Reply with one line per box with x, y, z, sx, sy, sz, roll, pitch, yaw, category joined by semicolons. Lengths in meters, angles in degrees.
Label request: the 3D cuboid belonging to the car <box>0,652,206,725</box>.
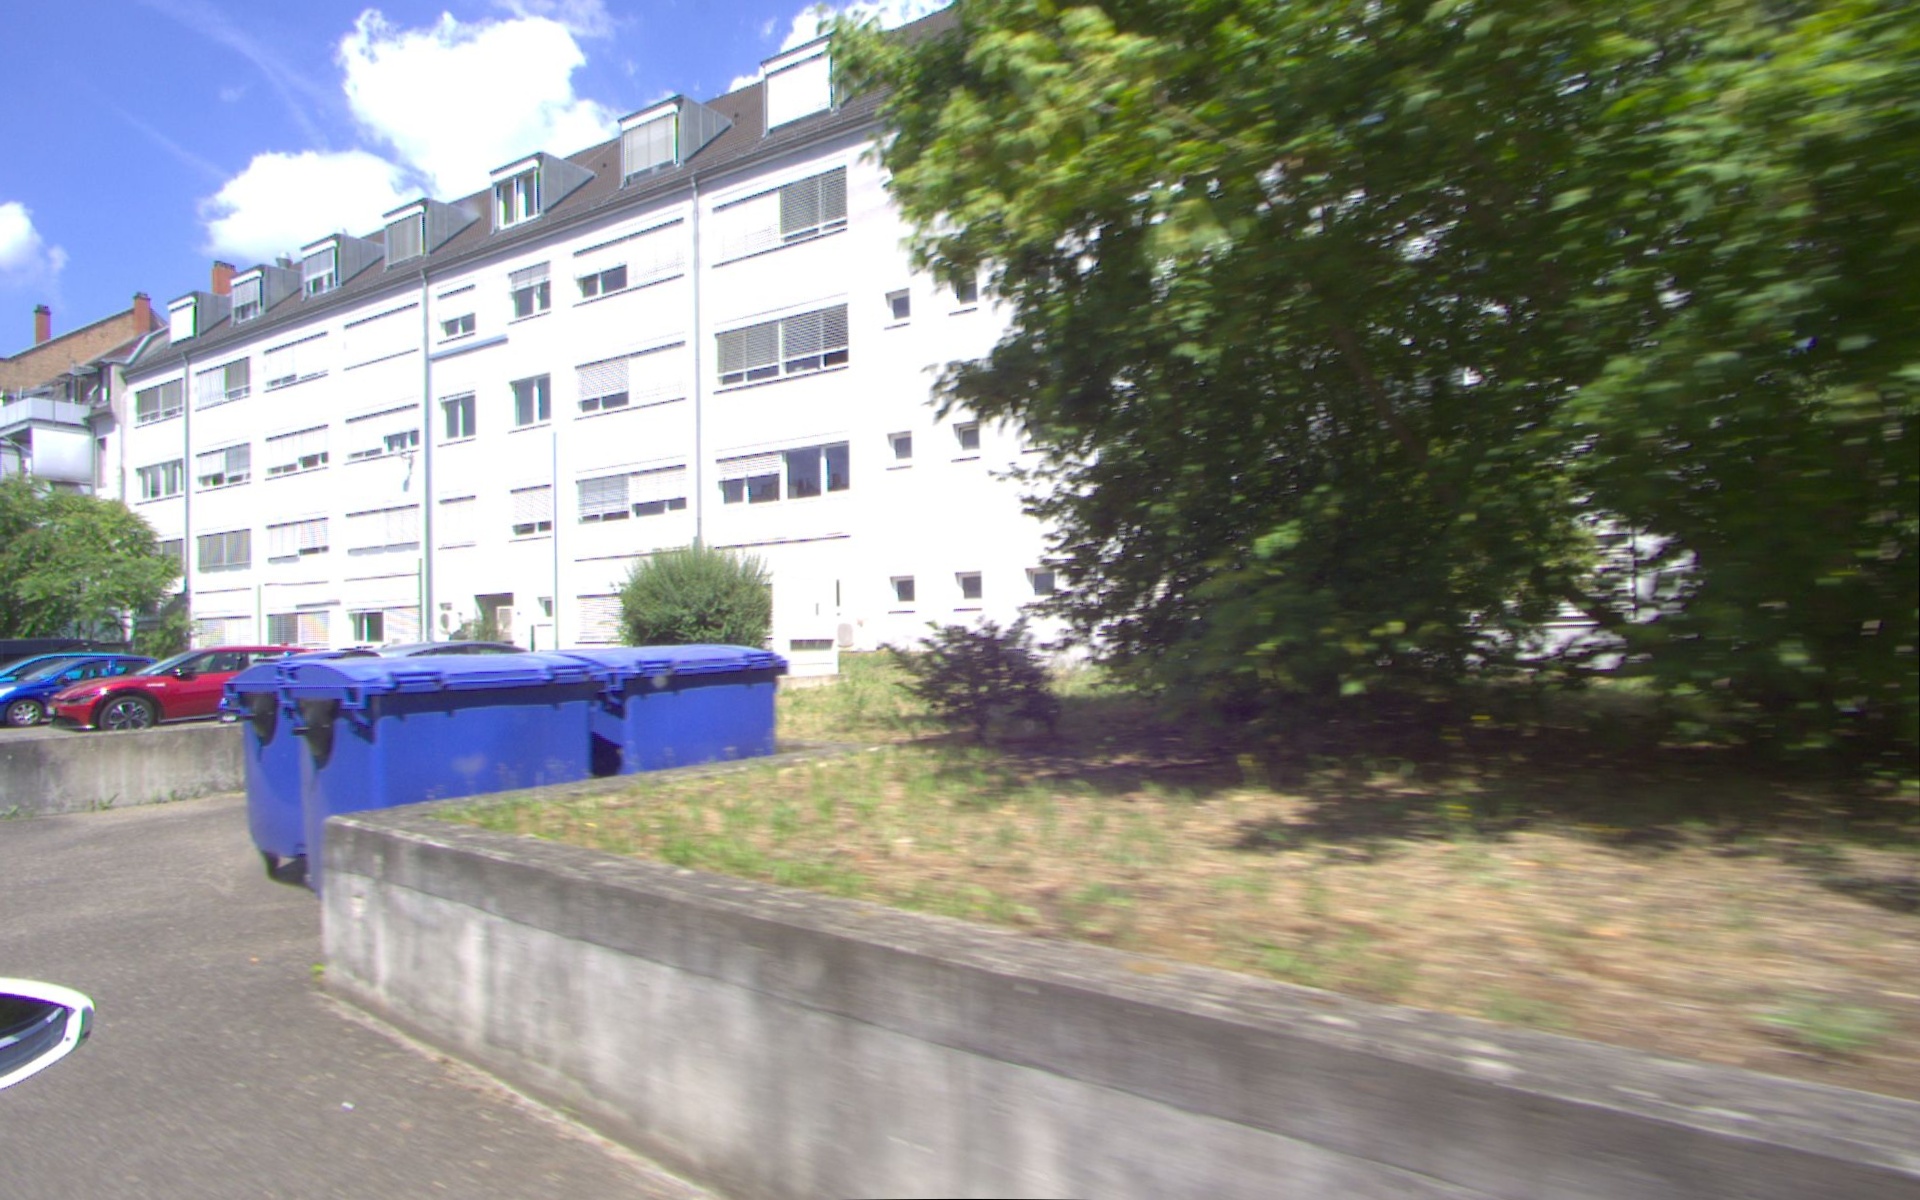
-19.512;1.906;22.329;1.780;1.408;3.977;-2;-2;35;car

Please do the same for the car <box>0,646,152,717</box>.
-22.019;1.909;23.885;1.780;1.553;3.977;-2;-2;35;car

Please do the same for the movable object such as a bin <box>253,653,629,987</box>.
-2.578;0.955;5.026;1.147;1.343;1.333;-2;-2;39;movable object such as a bin

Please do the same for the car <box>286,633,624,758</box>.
-7.054;1.246;14.360;1.780;1.497;3.977;-2;-2;35;car

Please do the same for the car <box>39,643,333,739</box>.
-14.168;1.591;18.541;1.780;1.497;3.977;-2;-2;35;car

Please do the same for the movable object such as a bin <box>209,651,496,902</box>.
-3.802;1.006;6.303;1.145;1.344;1.189;-2;-2;35;movable object such as a bin

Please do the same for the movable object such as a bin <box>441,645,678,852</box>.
-2.963;1.023;7.458;1.145;1.343;1.213;-2;-2;35;movable object such as a bin

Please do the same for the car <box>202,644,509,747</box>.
-9.795;1.465;16.515;1.780;1.408;3.977;-2;-2;35;car

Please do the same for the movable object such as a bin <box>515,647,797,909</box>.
-1.833;0.971;6.083;1.146;1.343;1.211;-2;-2;39;movable object such as a bin

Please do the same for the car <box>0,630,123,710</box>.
-24.571;1.777;25.486;2.049;1.983;4.665;-2;-2;35;car
